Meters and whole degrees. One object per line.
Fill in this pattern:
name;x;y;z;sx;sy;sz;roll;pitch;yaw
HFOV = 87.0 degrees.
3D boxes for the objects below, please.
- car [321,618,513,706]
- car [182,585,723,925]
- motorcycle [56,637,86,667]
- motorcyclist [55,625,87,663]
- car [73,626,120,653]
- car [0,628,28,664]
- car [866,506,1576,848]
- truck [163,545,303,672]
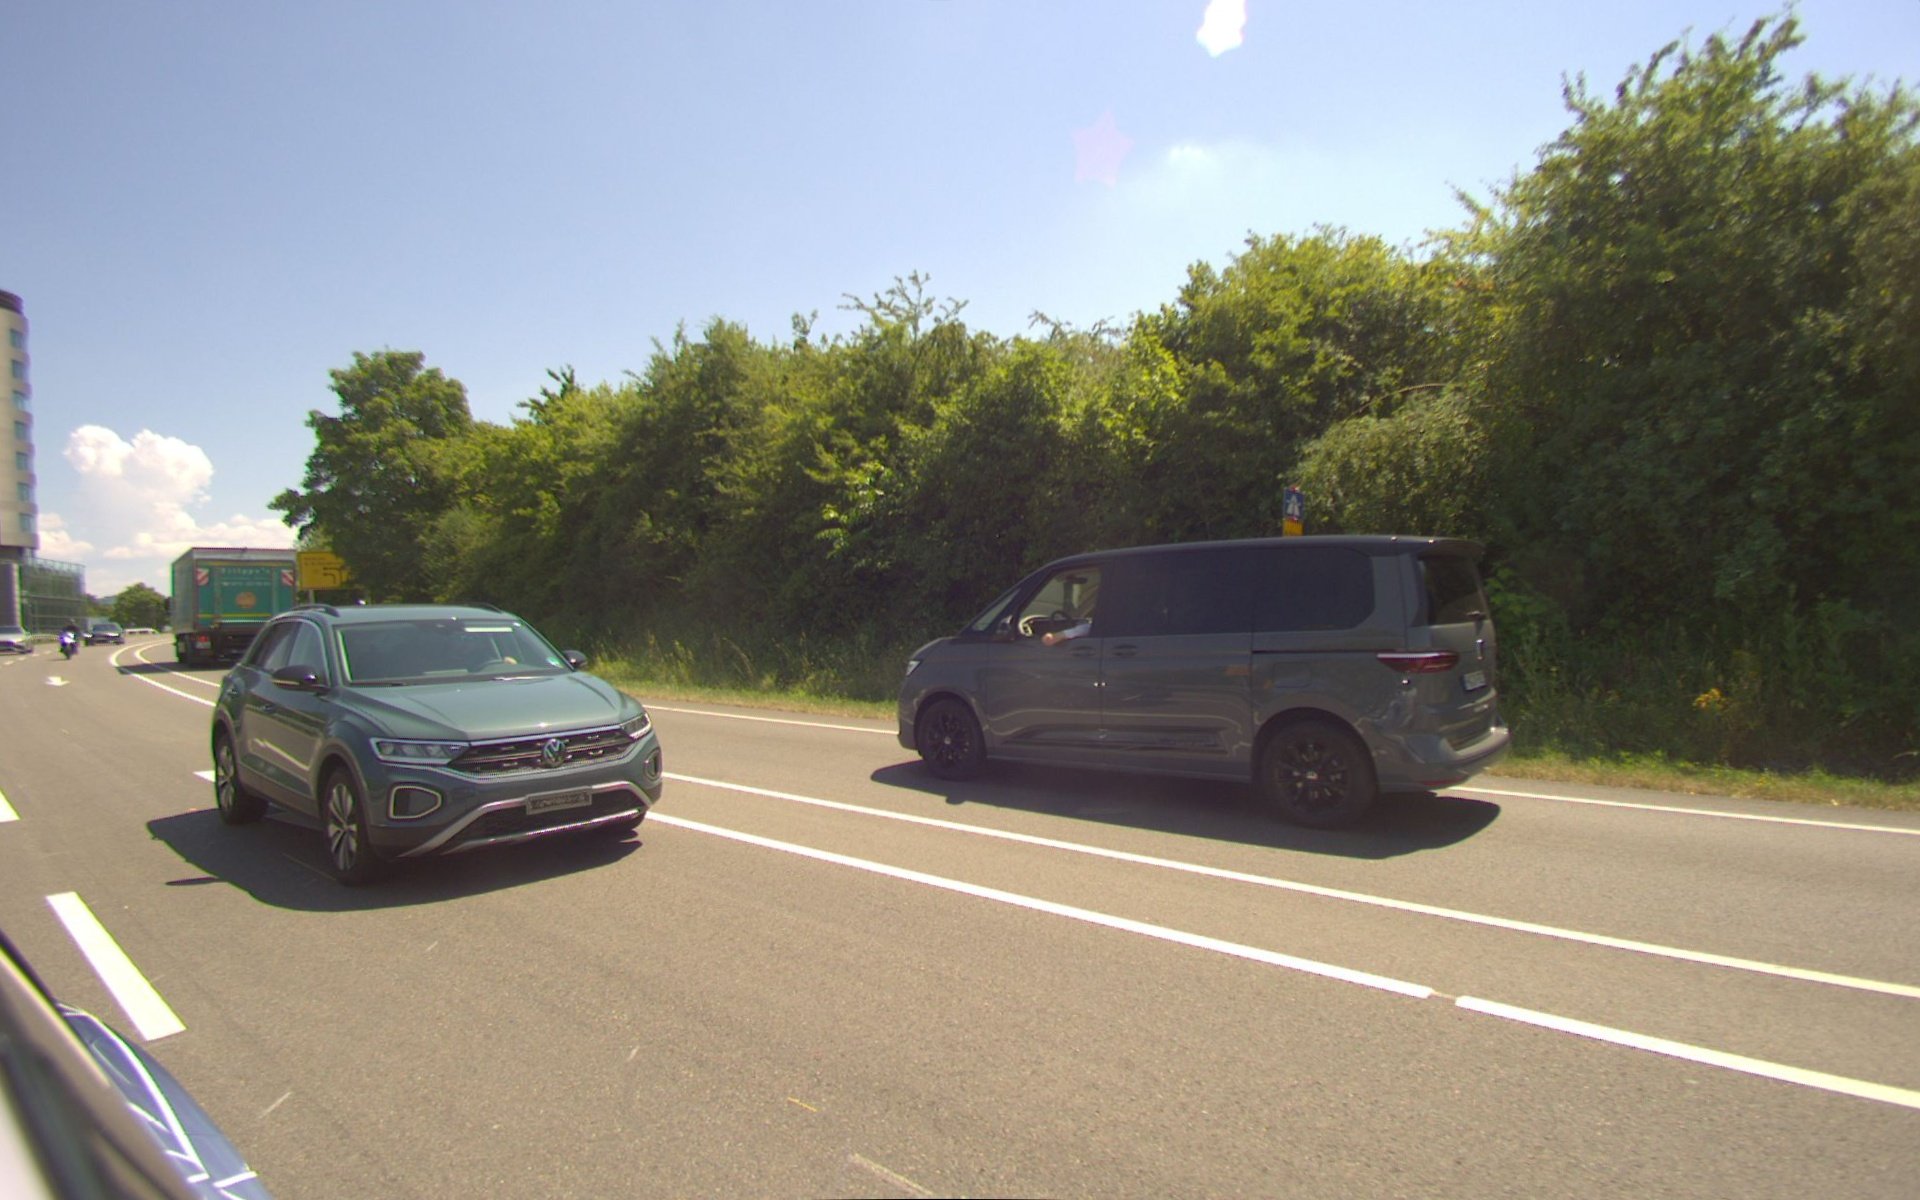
car;-10.426;1.110;19.309;4.328;1.453;1.857;-2;-1;42
car;-3.678;0.782;6.917;4.389;1.598;1.815;-2;-1;42
motorcycle;-36.151;2.111;41.152;2.073;1.147;0.724;-2;-2;43
motorcyclist;-36.122;1.799;41.122;1.162;1.500;0.849;-3;-2;43
car;-56.156;2.554;65.885;2.085;1.603;4.459;-2;0;-38
car;-47.515;2.325;49.984;1.905;1.598;4.186;-4;-1;-40
car;1.773;0.479;8.046;5.099;1.909;1.974;-2;-1;39
truck;-24.016;0.340;33.180;2.834;3.601;9.443;-1;-1;-41
